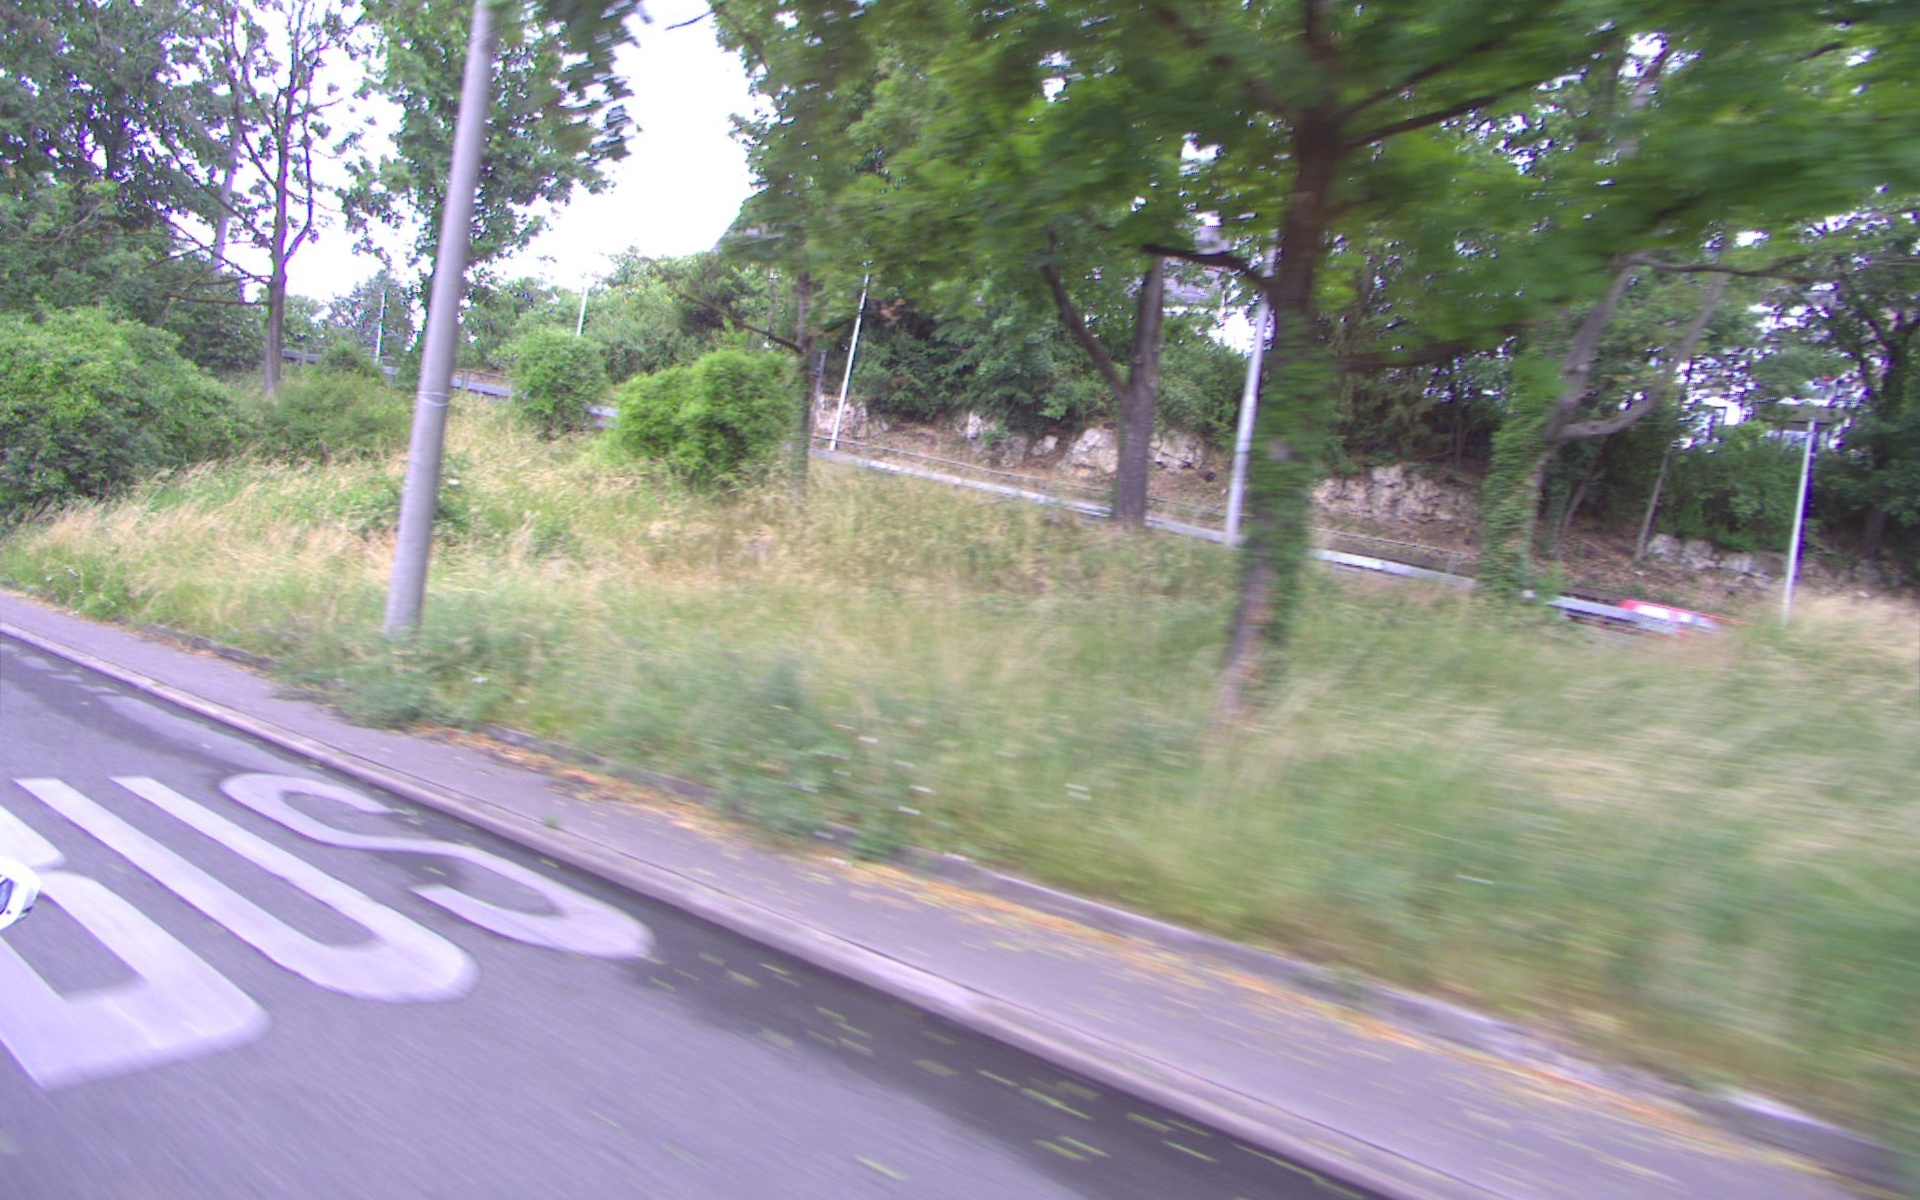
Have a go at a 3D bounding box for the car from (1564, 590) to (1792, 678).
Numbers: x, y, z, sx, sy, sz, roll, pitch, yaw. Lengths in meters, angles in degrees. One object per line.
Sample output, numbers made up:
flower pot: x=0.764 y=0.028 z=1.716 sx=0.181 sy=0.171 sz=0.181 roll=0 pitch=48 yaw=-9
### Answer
car: x=17.091 y=0.830 z=24.139 sx=3.924 sy=1.528 sz=1.802 roll=7 pitch=-1 yaw=12
